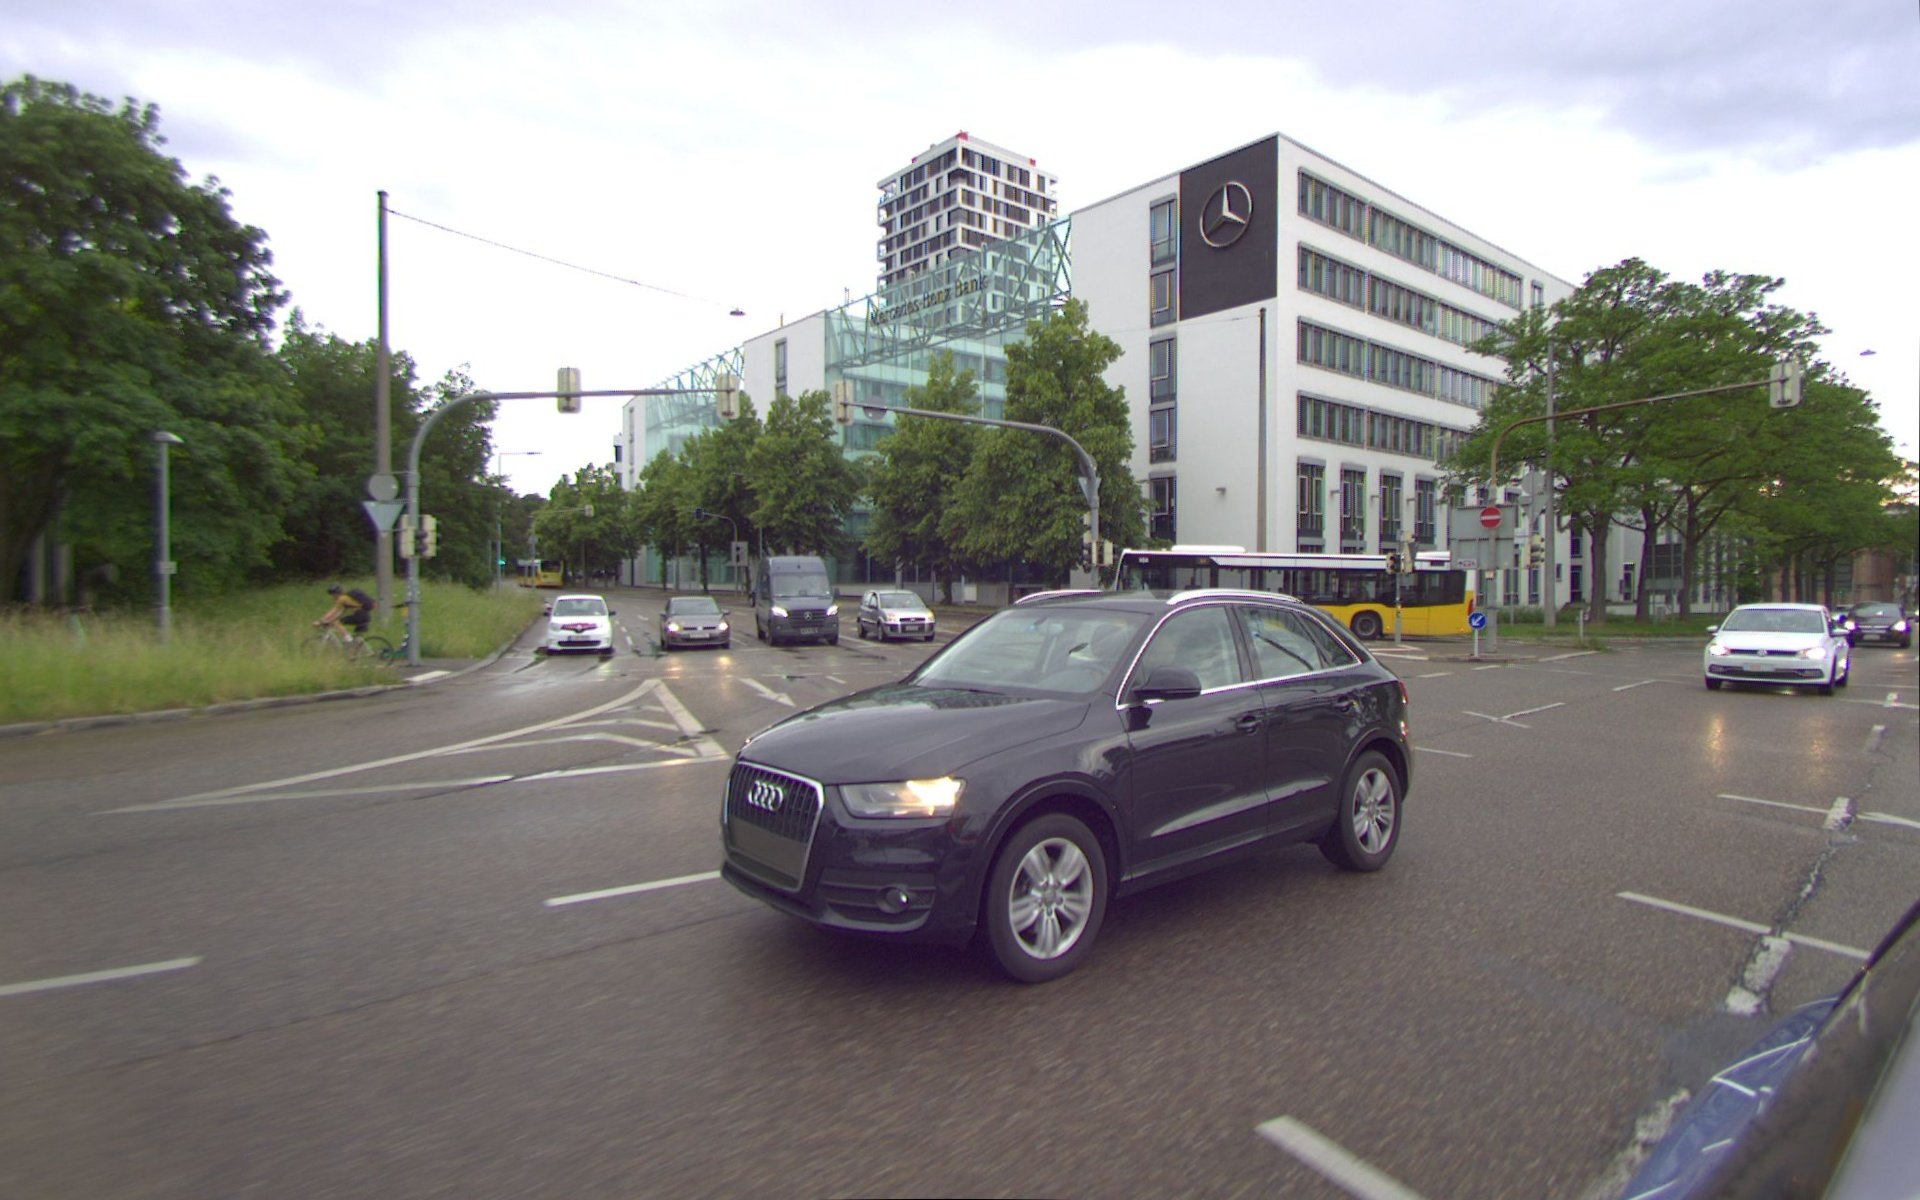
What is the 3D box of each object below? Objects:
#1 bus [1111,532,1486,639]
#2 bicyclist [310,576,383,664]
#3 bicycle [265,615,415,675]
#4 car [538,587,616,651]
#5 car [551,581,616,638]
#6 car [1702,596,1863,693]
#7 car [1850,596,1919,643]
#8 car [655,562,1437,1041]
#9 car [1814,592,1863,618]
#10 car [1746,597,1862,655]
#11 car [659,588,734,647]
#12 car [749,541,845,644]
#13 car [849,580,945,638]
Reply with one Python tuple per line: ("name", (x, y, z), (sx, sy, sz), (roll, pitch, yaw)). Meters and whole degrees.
("bus", (11.404, -0.539, 35.336), (11.956, 3.192, 2.726), (2, -1, 12))
("bicyclist", (-11.655, 0.370, 19.257), (1.001, 1.604, 0.813), (-1, -1, -16))
("bicycle", (-11.732, 0.827, 19.242), (2.279, 1.035, 0.813), (-1, 2, -16))
("car", (-10.497, 0.461, 27.618), (1.832, 1.583, 4.152), (-1, 1, -22))
("car", (-12.399, 0.269, 33.184), (1.832, 1.695, 4.574), (-1, 1, -22))
("car", (13.986, 0.664, 17.131), (1.741, 1.450, 3.750), (-1, 0, 45))
("car", (31.365, 0.619, 34.053), (3.489, 1.453, 1.624), (-1, 0, -41))
("car", (0.673, 0.665, 5.437), (4.039, 1.616, 1.888), (0, 0, -39))
("car", (57.049, 0.320, 65.712), (3.933, 1.605, 1.996), (-1, 1, -43))
("car", (22.767, 0.668, 27.244), (4.260, 1.371, 1.875), (-1, 0, -43))
("car", (-7.651, 0.456, 29.115), (1.693, 1.539, 4.390), (-1, 1, -20))
("car", (-5.086, -0.238, 30.853), (2.038, 2.775, 6.042), (-2, 1, -17))
("car", (-2.003, 0.233, 30.996), (1.832, 1.588, 4.070), (-2, 1, -20))
